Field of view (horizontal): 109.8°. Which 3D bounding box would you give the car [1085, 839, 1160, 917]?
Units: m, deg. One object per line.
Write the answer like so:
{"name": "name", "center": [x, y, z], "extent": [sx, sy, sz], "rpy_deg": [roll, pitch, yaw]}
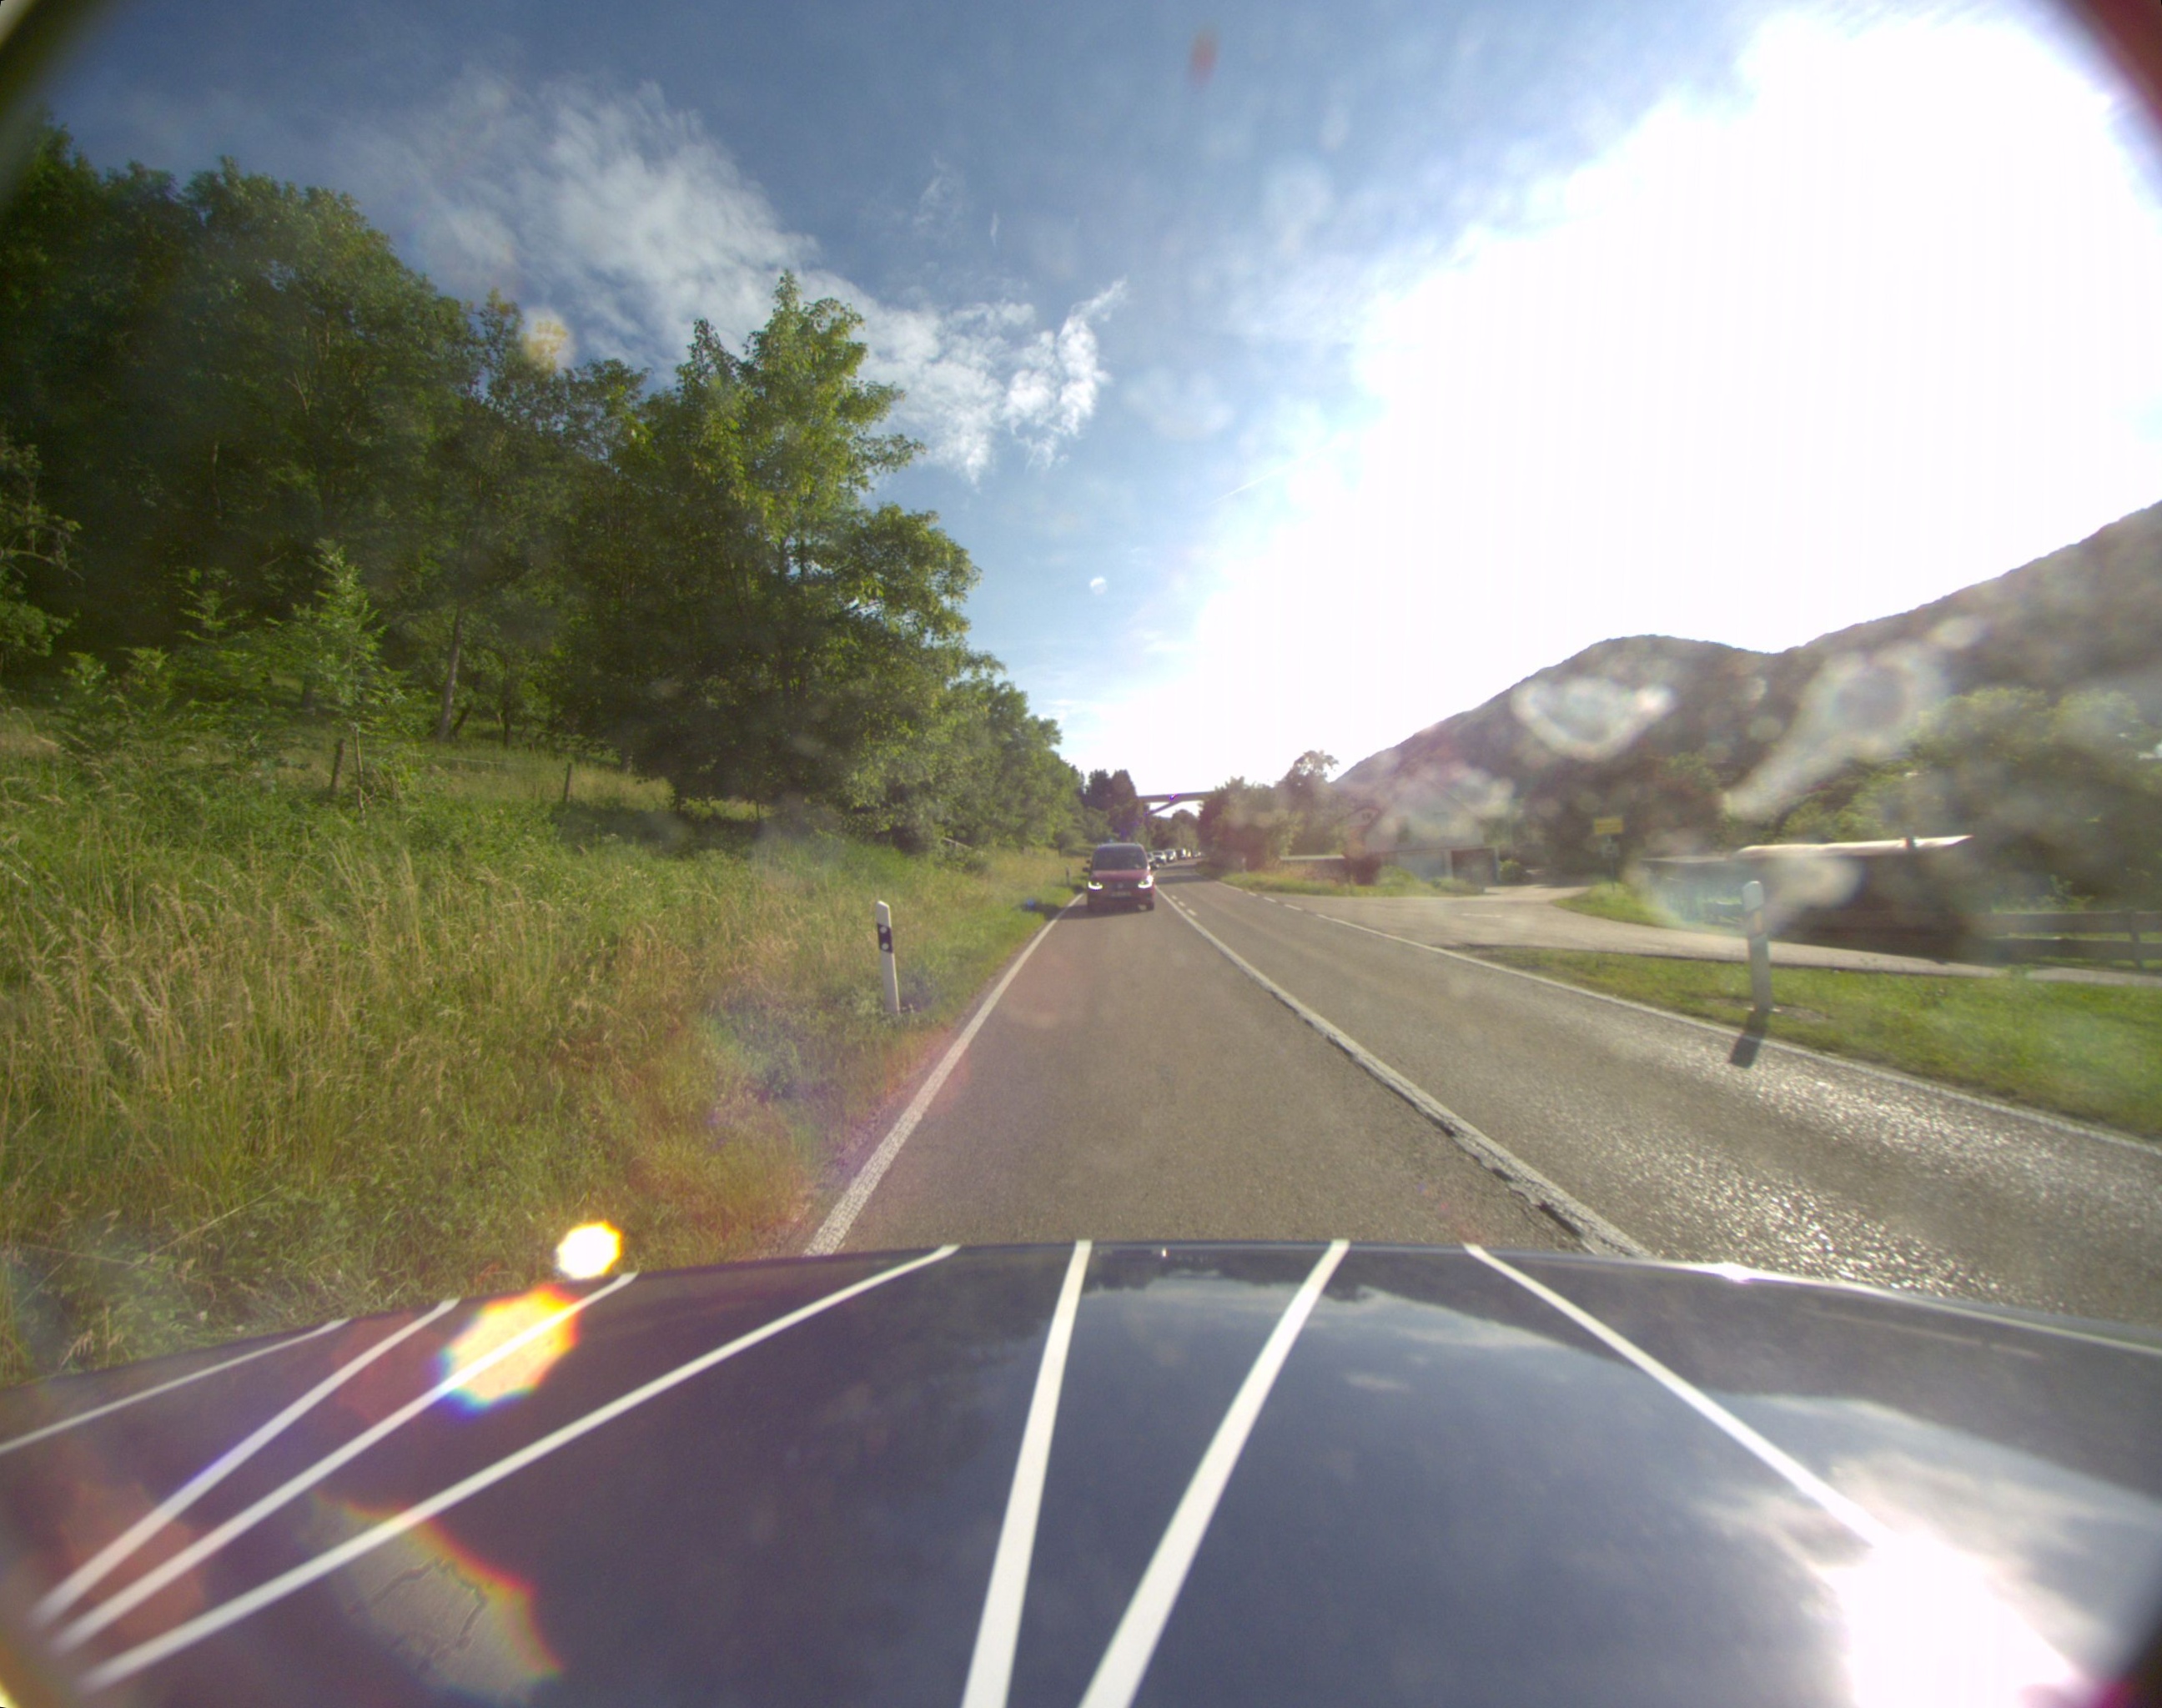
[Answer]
{"name": "car", "center": [1.113, 0.584, 20.833], "extent": [1.772, 1.855, 3.875], "rpy_deg": [-3, 0, 2]}

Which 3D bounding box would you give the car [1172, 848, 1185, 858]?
{"name": "car", "center": [15.767, -0.148, 122.972], "extent": [1.817, 1.608, 4.003], "rpy_deg": [0, 1, 11]}

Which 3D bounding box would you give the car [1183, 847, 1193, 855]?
{"name": "car", "center": [21.235, -0.553, 150.626], "extent": [1.840, 1.543, 4.181], "rpy_deg": [0, 1, 12]}

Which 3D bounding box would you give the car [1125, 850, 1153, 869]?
{"name": "car", "center": [4.850, 0.416, 63.135], "extent": [1.840, 1.543, 4.180], "rpy_deg": [0, 1, 10]}

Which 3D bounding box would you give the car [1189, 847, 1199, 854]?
{"name": "car", "center": [25.187, -0.756, 169.086], "extent": [1.840, 1.543, 4.181], "rpy_deg": [0, 1, 12]}

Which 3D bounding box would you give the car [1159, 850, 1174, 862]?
{"name": "car", "center": [11.285, 0.260, 100.176], "extent": [1.840, 1.543, 4.180], "rpy_deg": [0, 1, 9]}

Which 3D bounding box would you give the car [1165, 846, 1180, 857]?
{"name": "car", "center": [13.231, -0.395, 109.804], "extent": [1.817, 1.608, 4.003], "rpy_deg": [-1, 1, 12]}

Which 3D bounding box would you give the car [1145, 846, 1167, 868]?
{"name": "car", "center": [7.299, 0.254, 73.878], "extent": [1.913, 2.002, 4.002], "rpy_deg": [0, 1, 8]}

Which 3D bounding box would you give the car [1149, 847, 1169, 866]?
{"name": "car", "center": [8.813, 0.261, 85.494], "extent": [1.913, 2.002, 4.002], "rpy_deg": [0, 1, 9]}
